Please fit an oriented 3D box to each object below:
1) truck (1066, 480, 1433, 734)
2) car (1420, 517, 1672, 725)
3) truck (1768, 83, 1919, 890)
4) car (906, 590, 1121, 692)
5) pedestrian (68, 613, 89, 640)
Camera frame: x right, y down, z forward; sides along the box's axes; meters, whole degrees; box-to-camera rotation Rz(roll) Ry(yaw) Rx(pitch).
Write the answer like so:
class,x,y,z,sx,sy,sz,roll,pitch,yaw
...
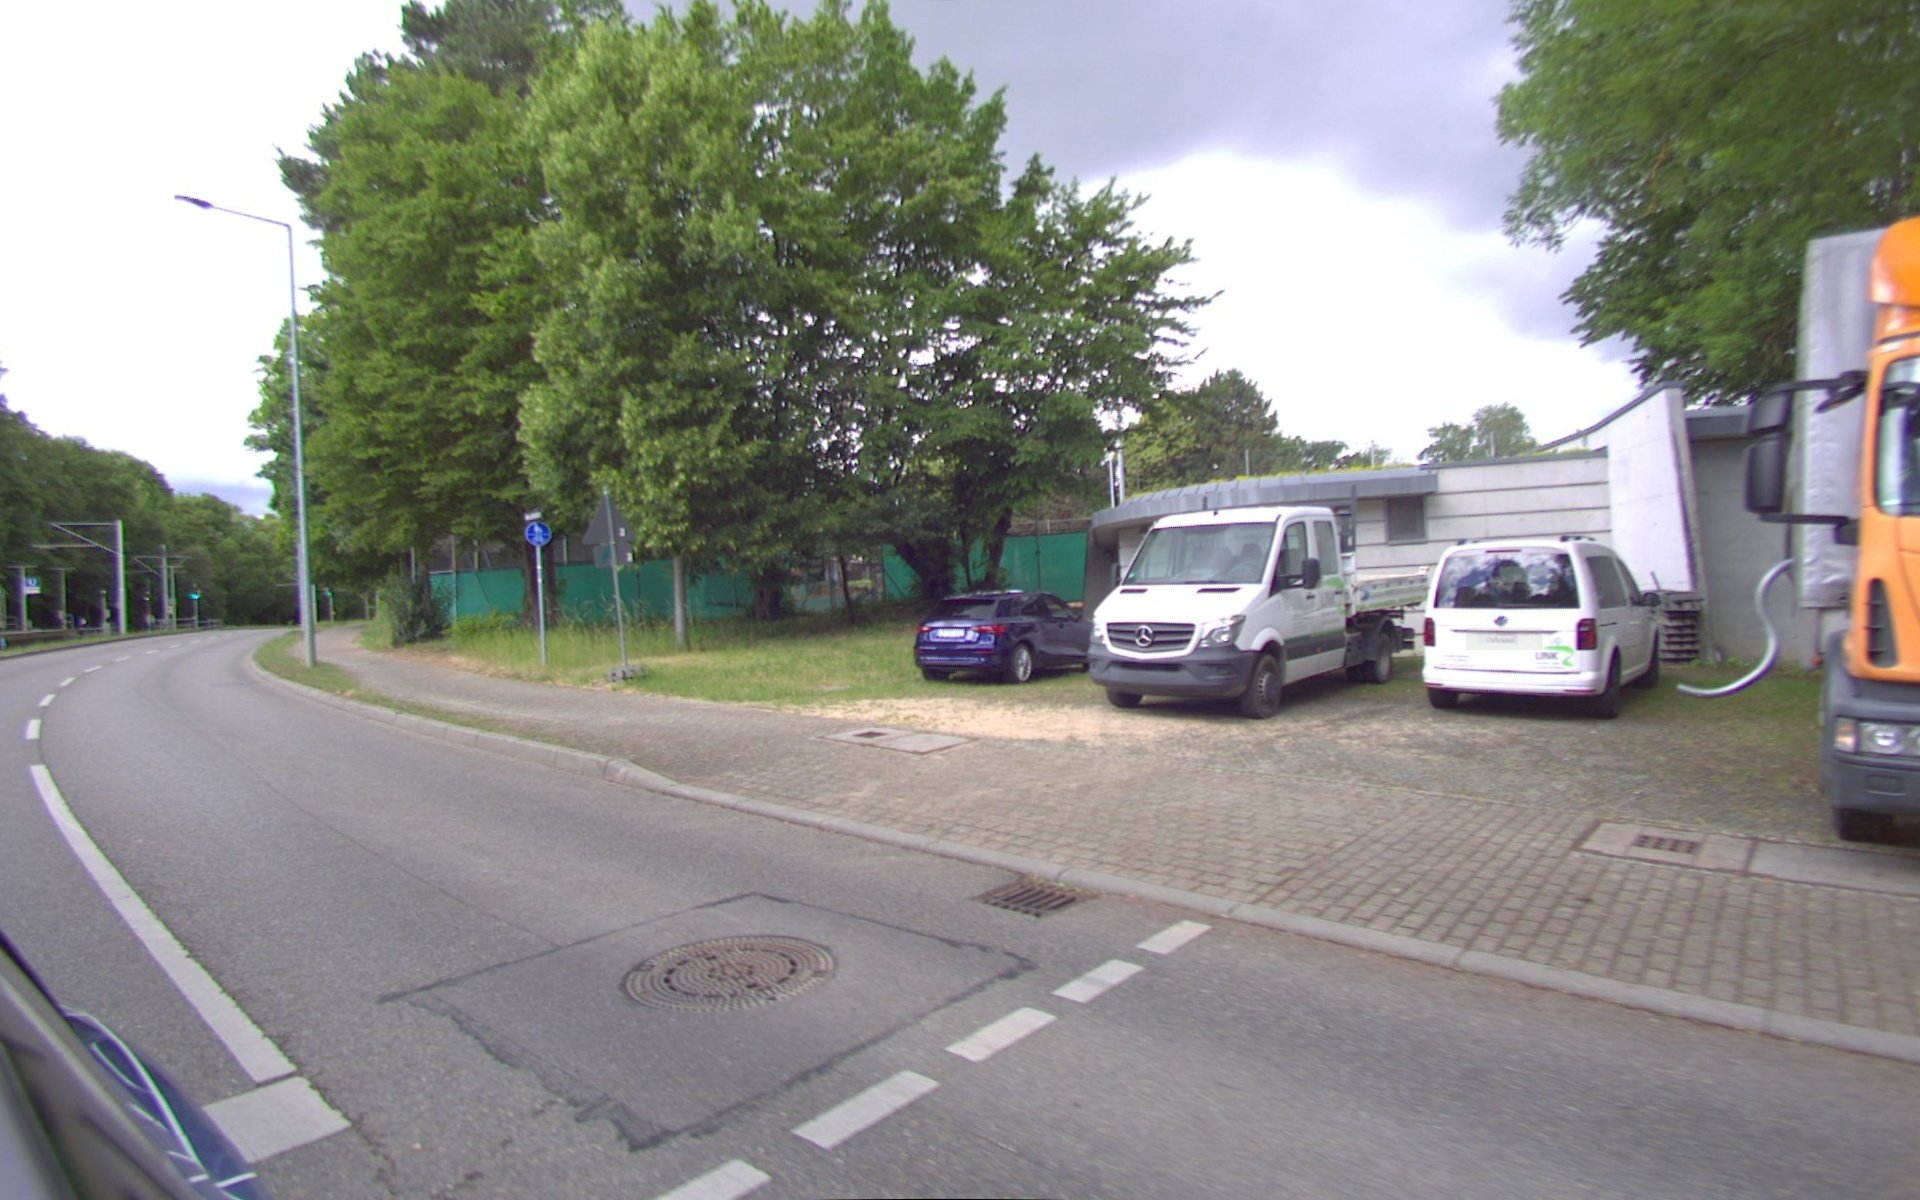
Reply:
class,x,y,z,sx,sy,sz,roll,pitch,yaw
truck,3.998,-0.070,12.842,2.121,2.434,6.323,0,2,39
car,6.731,0.121,11.426,1.780,1.923,3.947,-2,2,40
truck,7.864,-0.617,7.325,2.565,3.558,9.132,-1,1,42
car,0.992,0.557,16.389,1.713,1.336,3.955,2,3,34
pedestrian,-60.564,1.818,69.562,0.971,1.771,0.731,-3,0,-37
